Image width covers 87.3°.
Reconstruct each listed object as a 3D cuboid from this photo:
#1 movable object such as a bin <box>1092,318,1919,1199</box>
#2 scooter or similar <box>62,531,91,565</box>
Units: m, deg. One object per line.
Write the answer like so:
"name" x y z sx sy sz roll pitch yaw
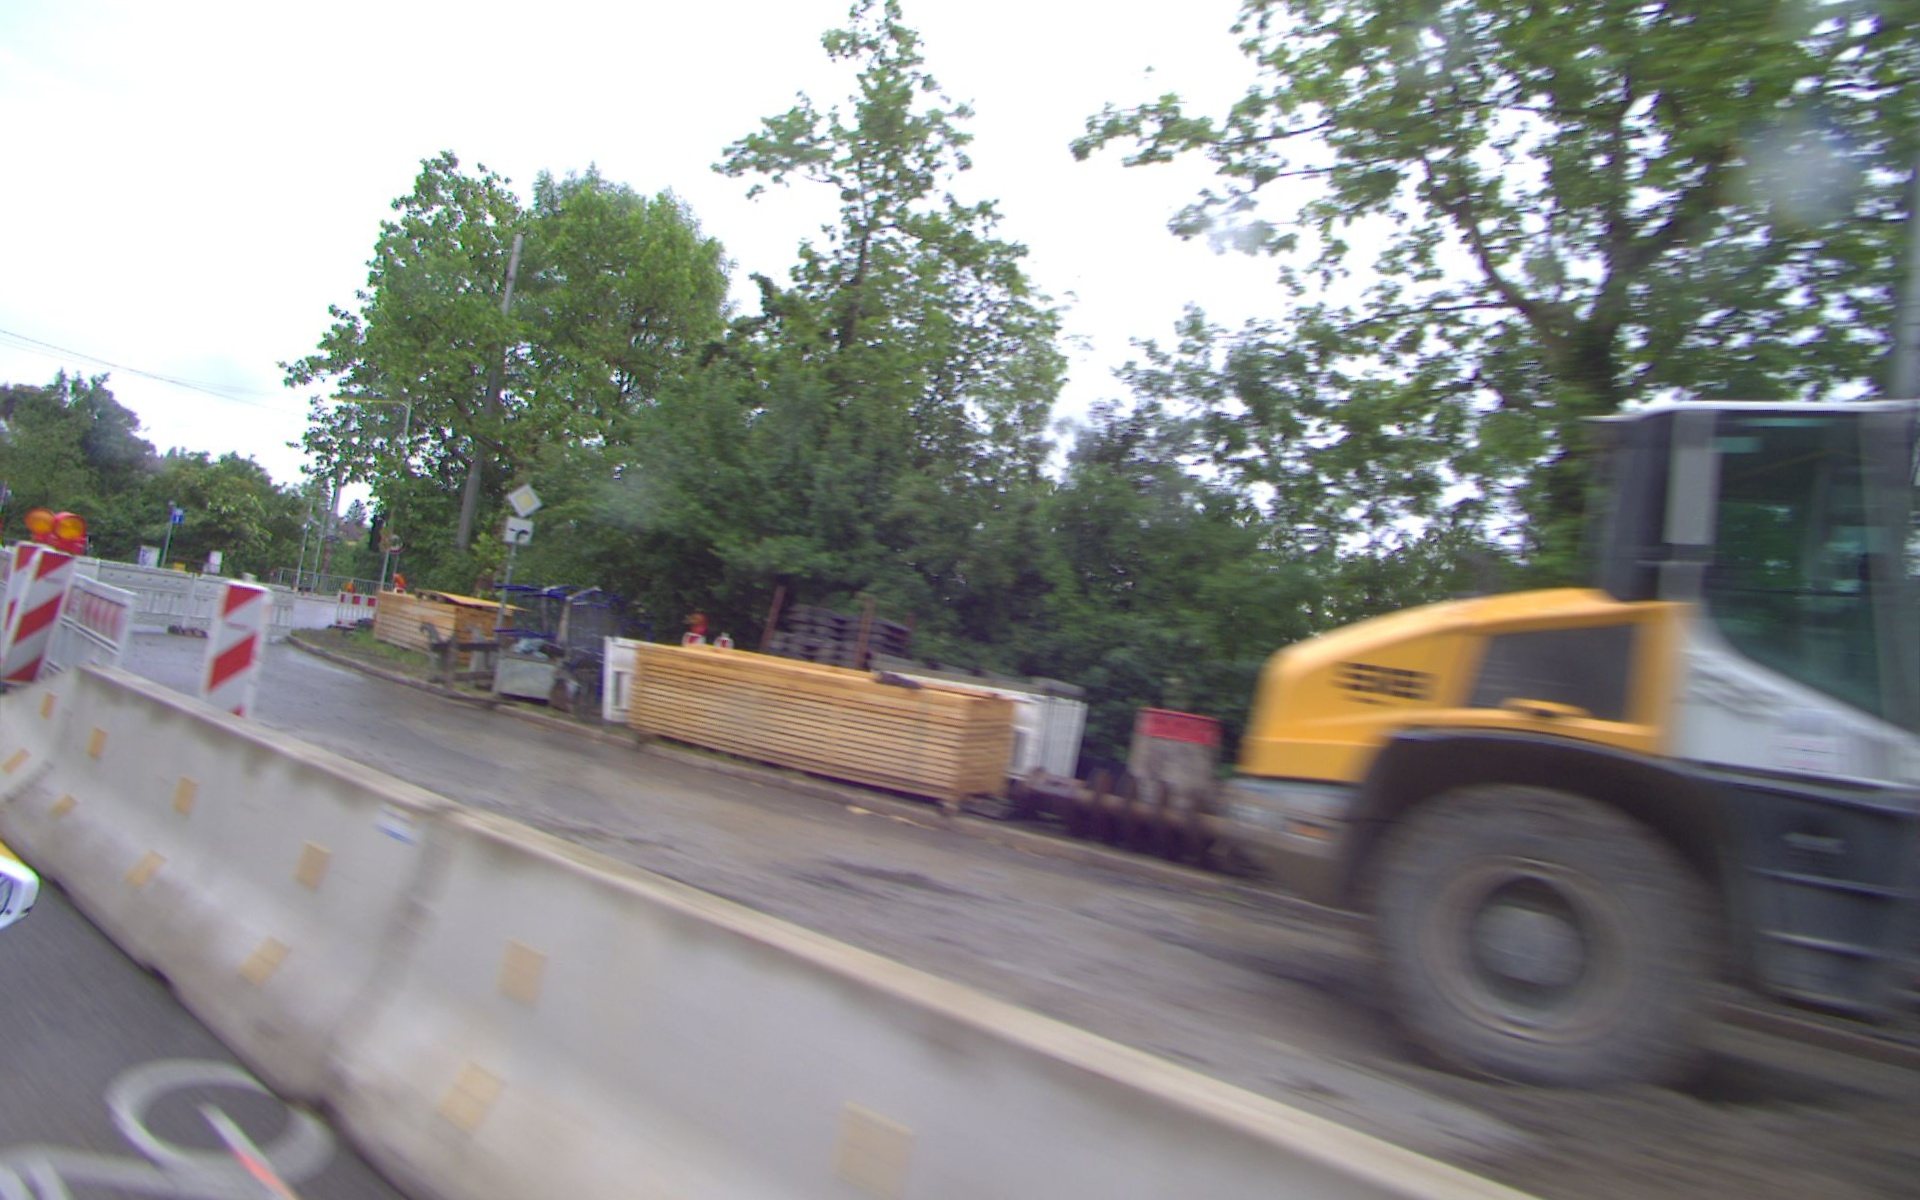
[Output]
"movable object such as a bin" 3.807 0.709 4.592 5.498 3.107 2.501 5 -5 33
"scooter or similar" -33.285 -1.949 37.900 0.821 1.156 0.465 6 -4 33
